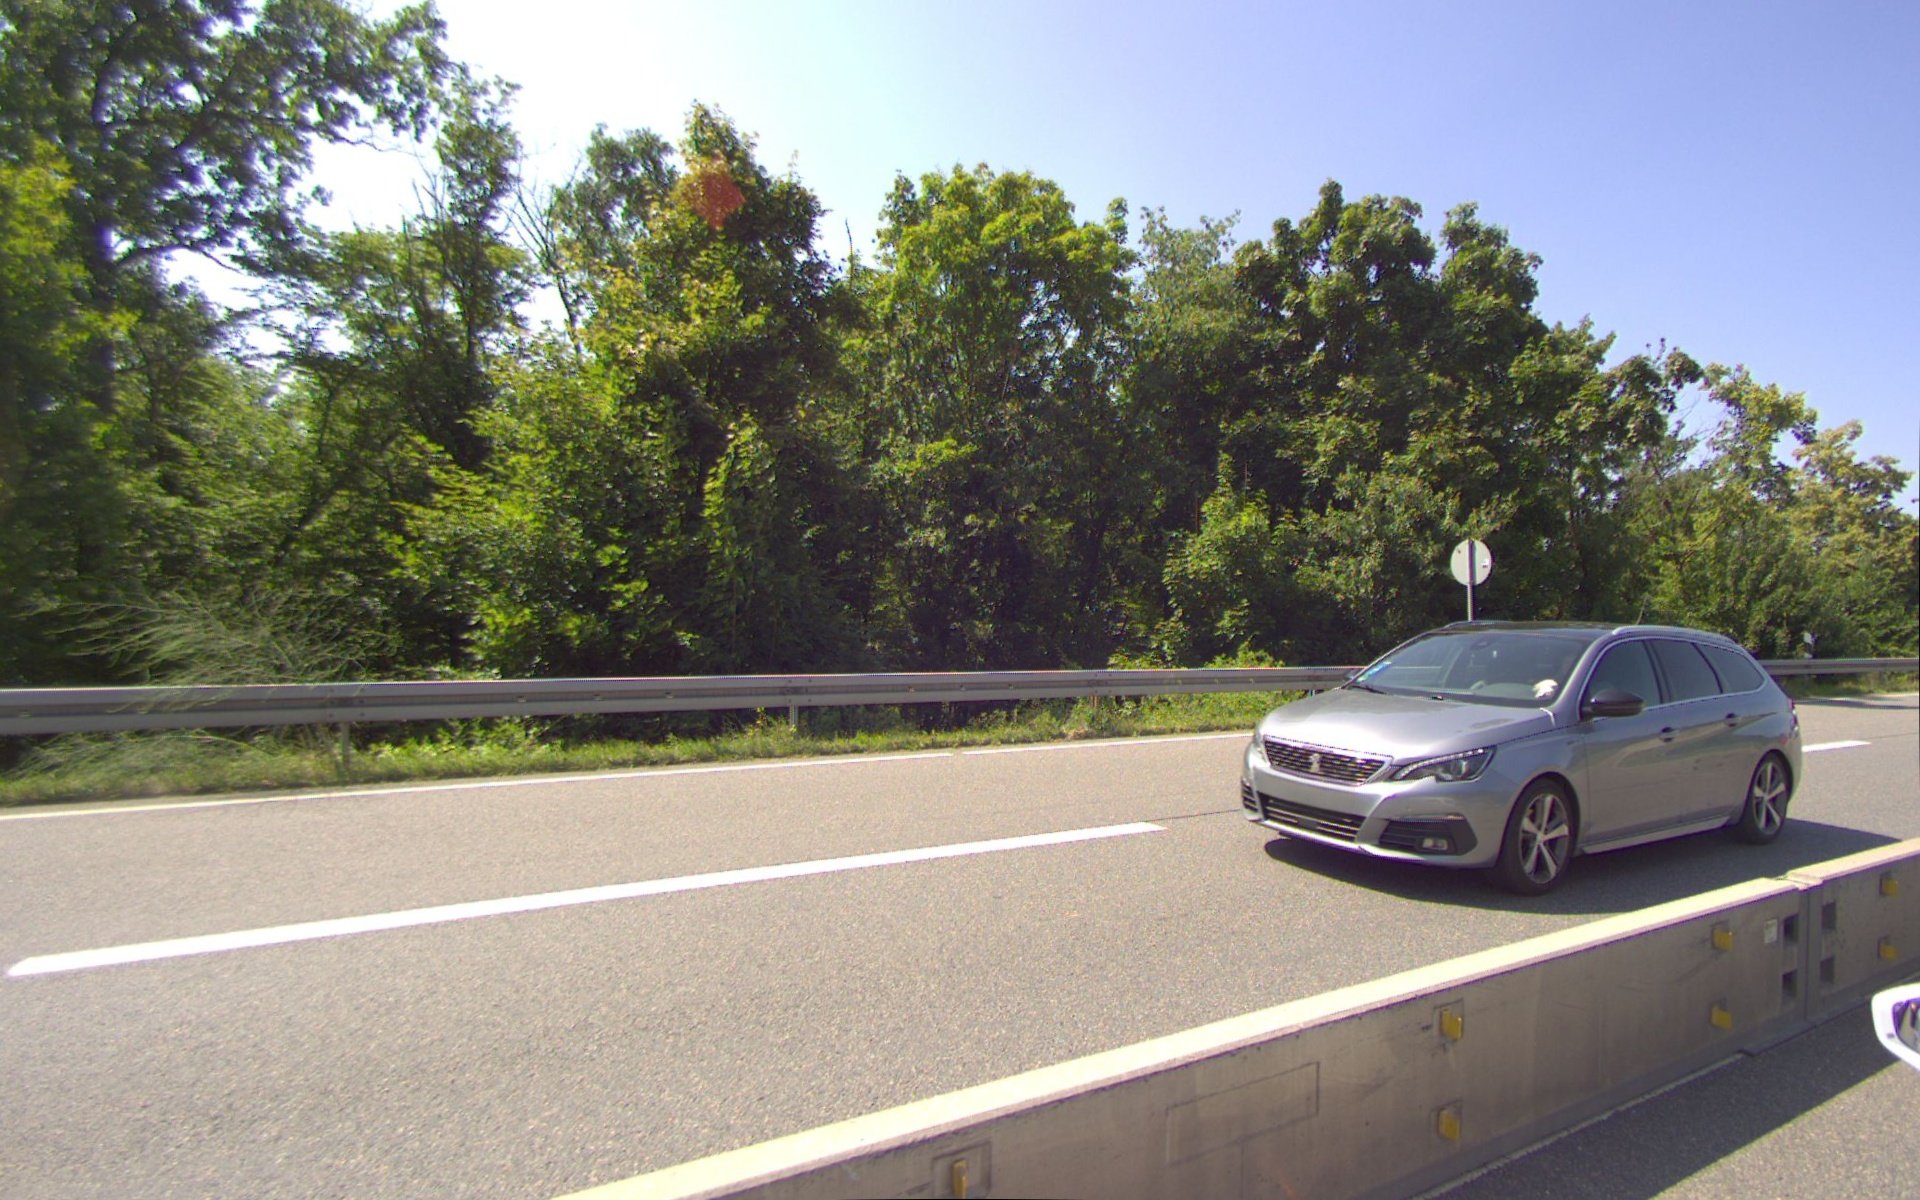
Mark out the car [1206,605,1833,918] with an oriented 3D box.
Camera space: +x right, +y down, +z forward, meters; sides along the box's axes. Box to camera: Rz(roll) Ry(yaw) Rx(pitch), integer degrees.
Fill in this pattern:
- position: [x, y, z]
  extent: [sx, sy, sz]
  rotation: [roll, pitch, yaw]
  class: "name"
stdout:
- position: [3.868, 0.833, 6.746]
  extent: [4.337, 1.516, 1.717]
  rotation: [1, -1, -30]
  class: "car"
